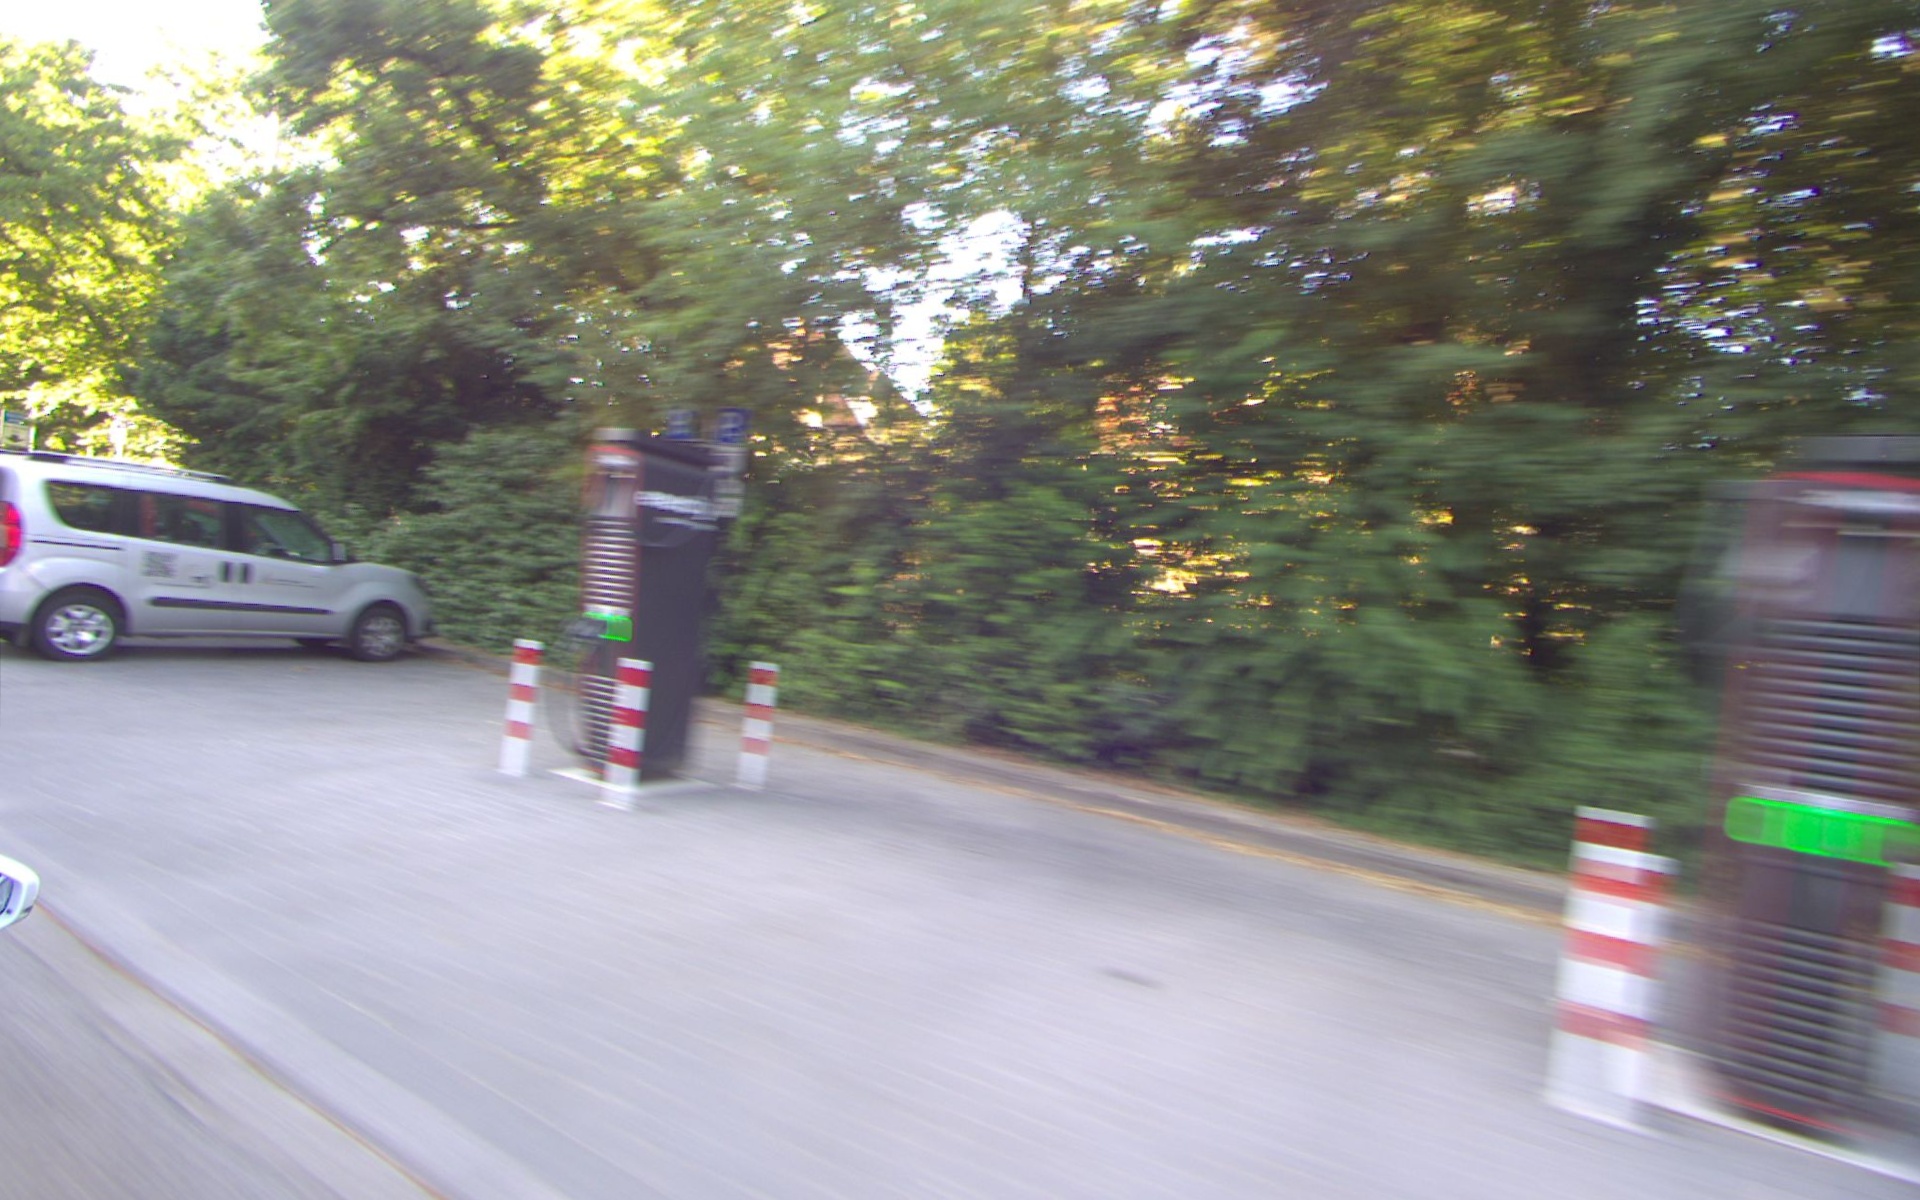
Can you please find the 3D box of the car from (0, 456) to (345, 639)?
[{"bbox_3d":[-10.170,-0.594,12.408,1.588,1.859,4.026,7,1,33],"label":"car"}]

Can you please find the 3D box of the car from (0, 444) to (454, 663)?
[{"bbox_3d":[-8.174,-0.382,10.978,1.968,1.883,4.231,6,0,33],"label":"car"}]
